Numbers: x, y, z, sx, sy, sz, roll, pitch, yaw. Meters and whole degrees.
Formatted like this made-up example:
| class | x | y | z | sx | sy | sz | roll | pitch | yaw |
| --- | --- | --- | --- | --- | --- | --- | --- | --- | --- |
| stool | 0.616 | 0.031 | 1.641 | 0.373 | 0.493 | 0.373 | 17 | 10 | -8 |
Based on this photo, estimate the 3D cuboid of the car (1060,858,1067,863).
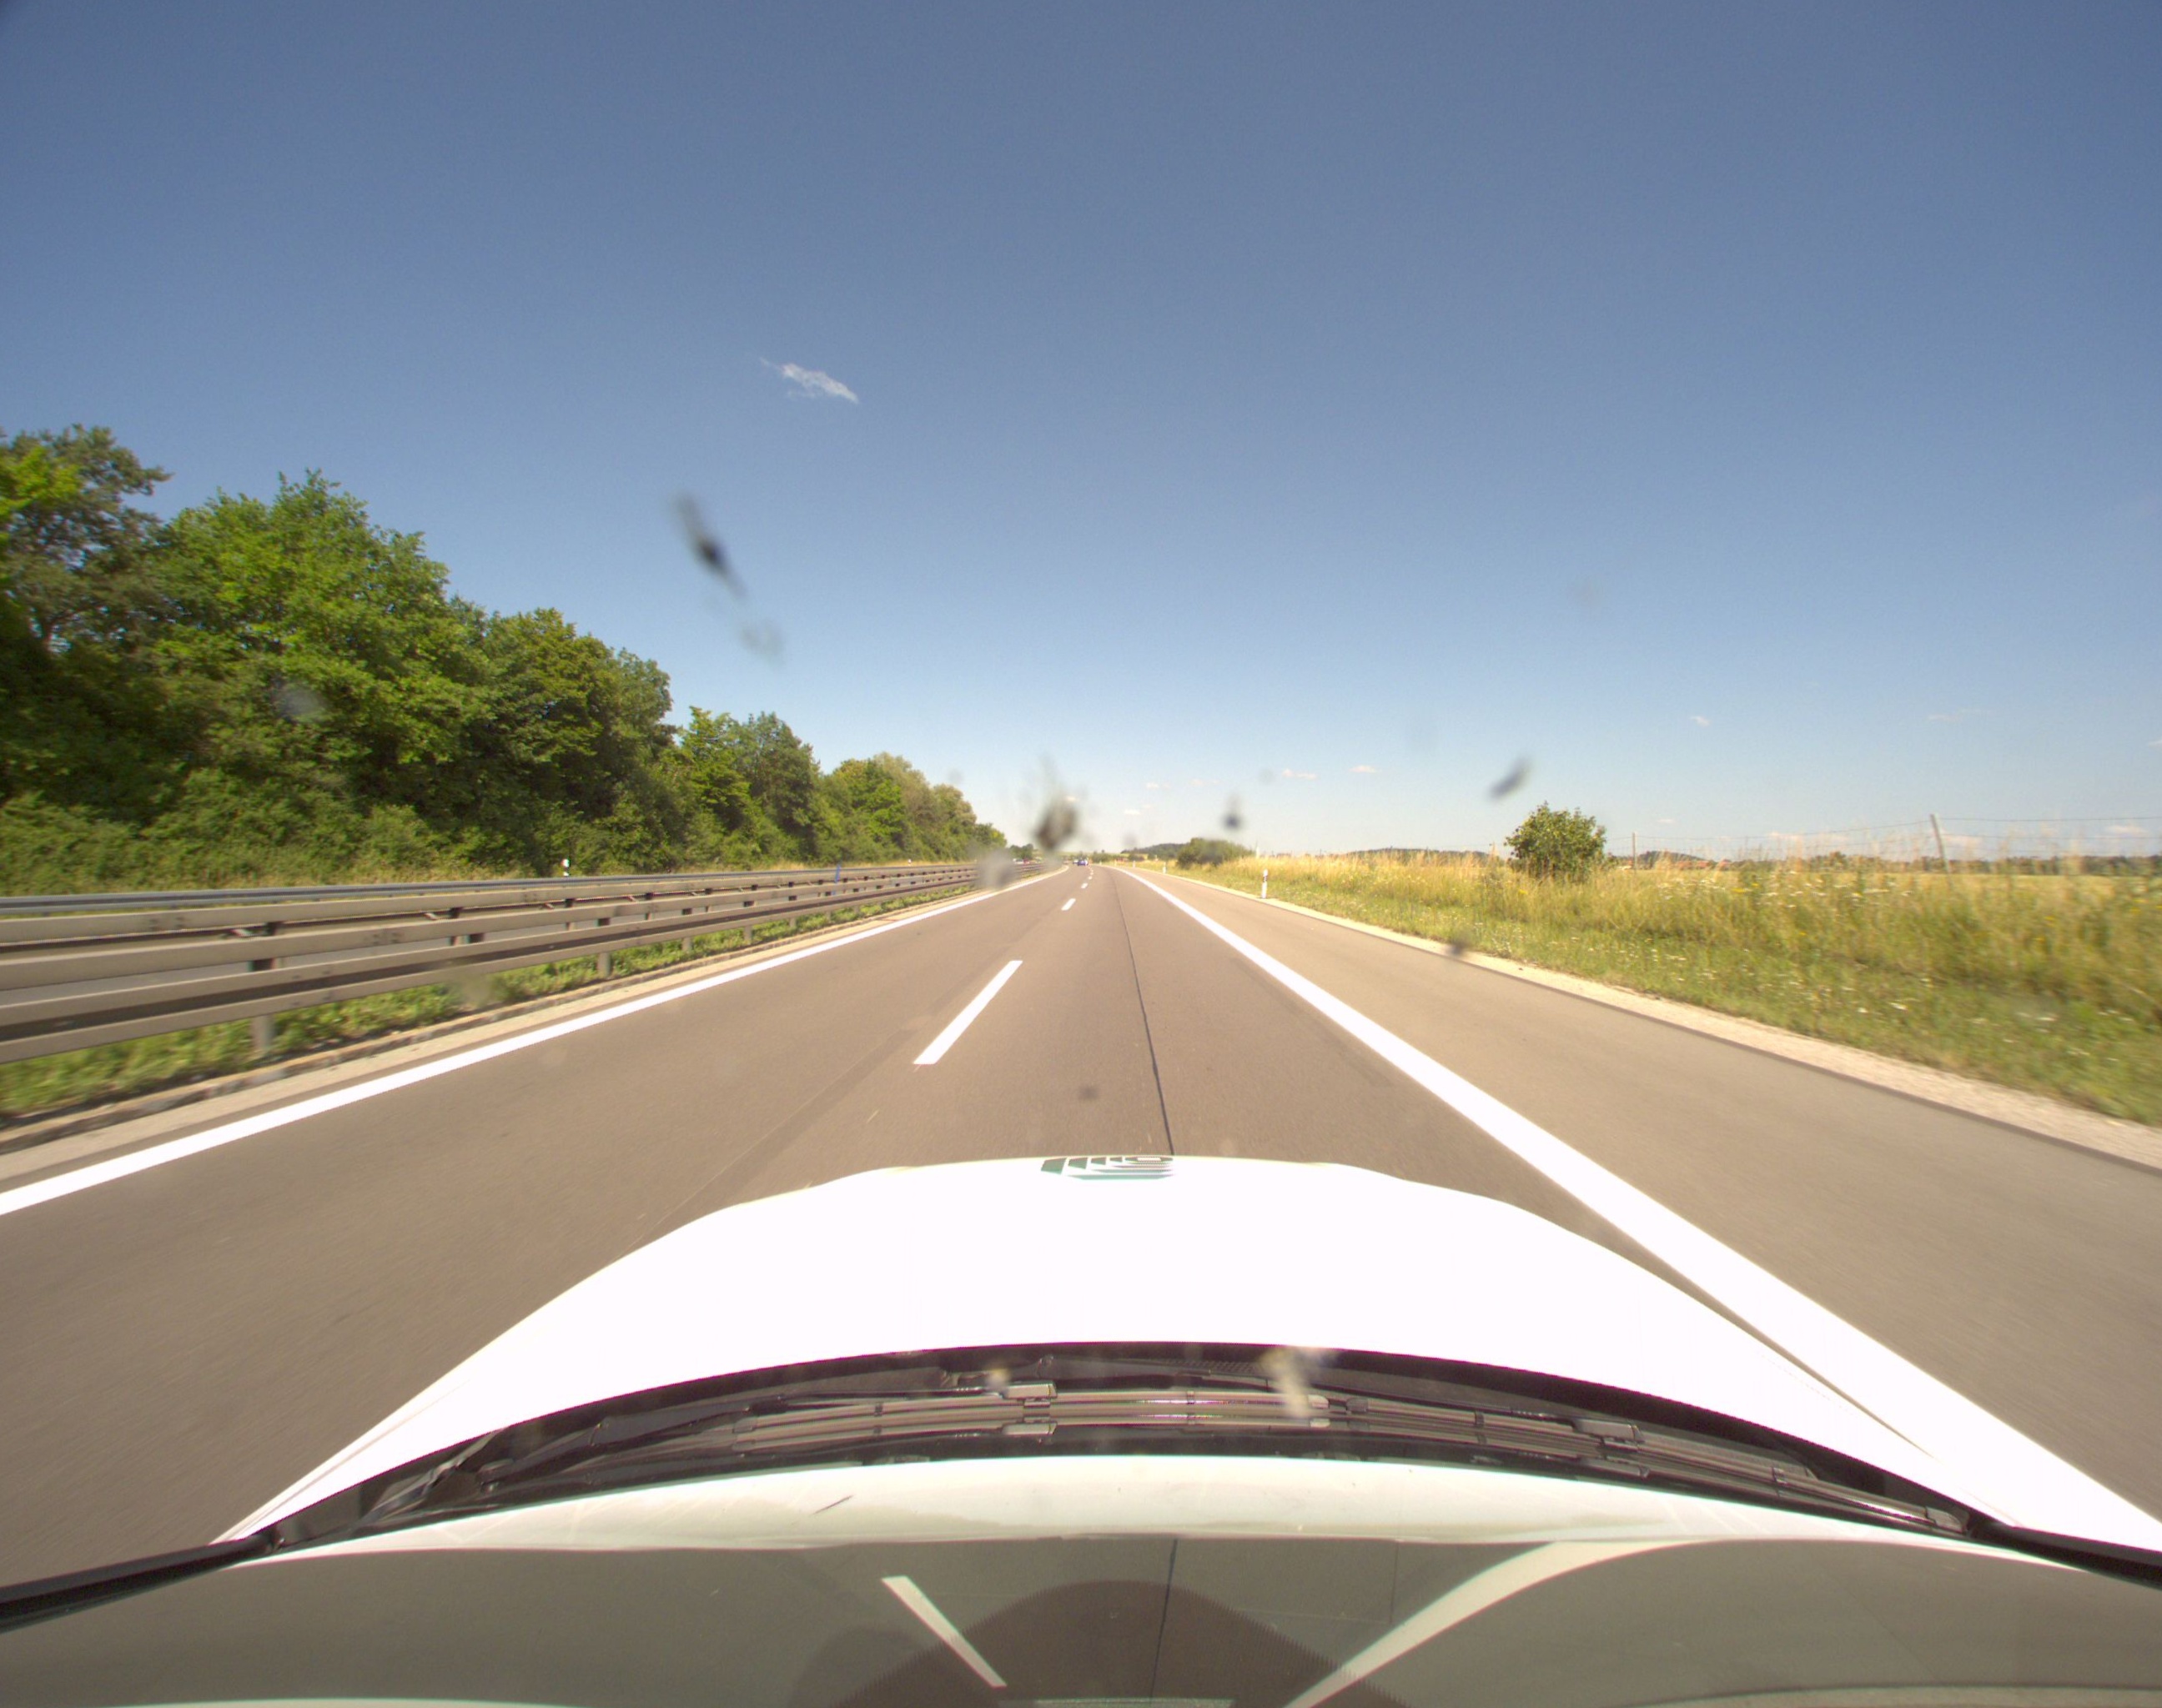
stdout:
| class | x | y | z | sx | sy | sz | roll | pitch | yaw |
| --- | --- | --- | --- | --- | --- | --- | --- | --- | --- |
| car | -5.411 | 2.006 | 256.594 | 1.821 | 1.453 | 3.595 | 0 | -1 | 3 |

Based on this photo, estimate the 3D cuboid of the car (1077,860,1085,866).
| class | x | y | z | sx | sy | sz | roll | pitch | yaw |
| --- | --- | --- | --- | --- | --- | --- | --- | --- | --- |
| car | 0.058 | 2.116 | 185.932 | 1.670 | 1.453 | 3.593 | 0 | -1 | 2 |

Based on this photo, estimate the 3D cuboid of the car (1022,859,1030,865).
| class | x | y | z | sx | sy | sz | roll | pitch | yaw |
| --- | --- | --- | --- | --- | --- | --- | --- | --- | --- |
| car | -13.537 | 1.985 | 199.131 | 1.644 | 1.493 | 4.538 | 0 | 0 | 0 |

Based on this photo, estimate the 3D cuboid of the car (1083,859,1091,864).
| class | x | y | z | sx | sy | sz | roll | pitch | yaw |
| --- | --- | --- | --- | --- | --- | --- | --- | --- | --- |
| car | 1.604 | 2.006 | 218.307 | 1.672 | 1.453 | 3.587 | 0 | -1 | -4 |

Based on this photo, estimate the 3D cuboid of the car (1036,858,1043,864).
| class | x | y | z | sx | sy | sz | roll | pitch | yaw |
| --- | --- | --- | --- | --- | --- | --- | --- | --- | --- |
| car | -10.883 | 1.847 | 213.333 | 1.644 | 1.493 | 4.538 | 0 | 0 | 0 |

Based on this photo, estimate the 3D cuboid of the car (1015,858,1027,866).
| class | x | y | z | sx | sy | sz | roll | pitch | yaw |
| --- | --- | --- | --- | --- | --- | --- | --- | --- | --- |
| car | -12.181 | 1.593 | 165.238 | 1.986 | 1.612 | 4.637 | 0 | 0 | 1 |
